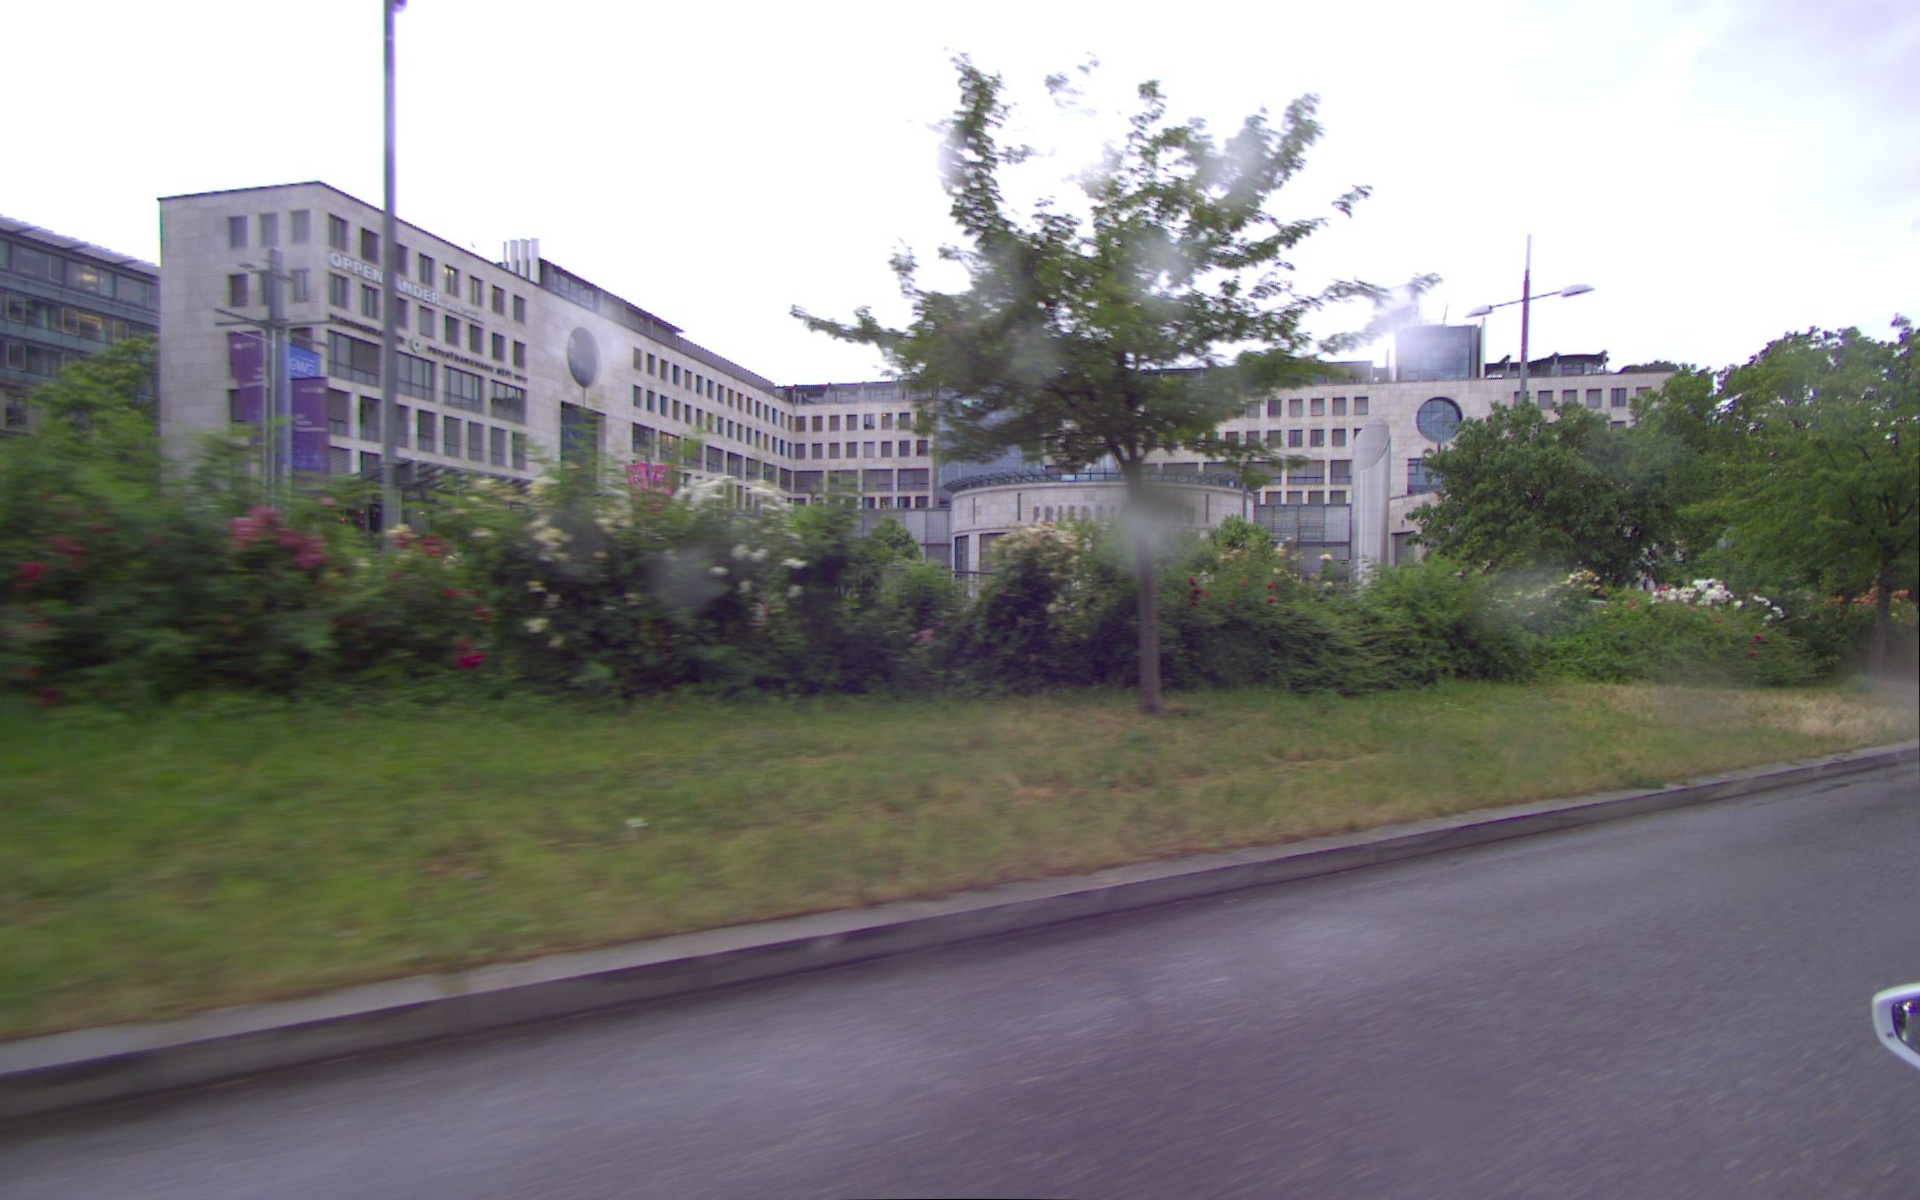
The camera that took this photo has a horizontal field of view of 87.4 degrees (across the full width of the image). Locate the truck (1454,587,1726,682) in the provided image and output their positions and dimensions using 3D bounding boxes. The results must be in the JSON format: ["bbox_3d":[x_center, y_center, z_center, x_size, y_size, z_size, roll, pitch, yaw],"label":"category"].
[{"bbox_3d":[19.150,1.028,30.400,8.372,2.544,3.352,2,0,-29],"label":"truck"}]
